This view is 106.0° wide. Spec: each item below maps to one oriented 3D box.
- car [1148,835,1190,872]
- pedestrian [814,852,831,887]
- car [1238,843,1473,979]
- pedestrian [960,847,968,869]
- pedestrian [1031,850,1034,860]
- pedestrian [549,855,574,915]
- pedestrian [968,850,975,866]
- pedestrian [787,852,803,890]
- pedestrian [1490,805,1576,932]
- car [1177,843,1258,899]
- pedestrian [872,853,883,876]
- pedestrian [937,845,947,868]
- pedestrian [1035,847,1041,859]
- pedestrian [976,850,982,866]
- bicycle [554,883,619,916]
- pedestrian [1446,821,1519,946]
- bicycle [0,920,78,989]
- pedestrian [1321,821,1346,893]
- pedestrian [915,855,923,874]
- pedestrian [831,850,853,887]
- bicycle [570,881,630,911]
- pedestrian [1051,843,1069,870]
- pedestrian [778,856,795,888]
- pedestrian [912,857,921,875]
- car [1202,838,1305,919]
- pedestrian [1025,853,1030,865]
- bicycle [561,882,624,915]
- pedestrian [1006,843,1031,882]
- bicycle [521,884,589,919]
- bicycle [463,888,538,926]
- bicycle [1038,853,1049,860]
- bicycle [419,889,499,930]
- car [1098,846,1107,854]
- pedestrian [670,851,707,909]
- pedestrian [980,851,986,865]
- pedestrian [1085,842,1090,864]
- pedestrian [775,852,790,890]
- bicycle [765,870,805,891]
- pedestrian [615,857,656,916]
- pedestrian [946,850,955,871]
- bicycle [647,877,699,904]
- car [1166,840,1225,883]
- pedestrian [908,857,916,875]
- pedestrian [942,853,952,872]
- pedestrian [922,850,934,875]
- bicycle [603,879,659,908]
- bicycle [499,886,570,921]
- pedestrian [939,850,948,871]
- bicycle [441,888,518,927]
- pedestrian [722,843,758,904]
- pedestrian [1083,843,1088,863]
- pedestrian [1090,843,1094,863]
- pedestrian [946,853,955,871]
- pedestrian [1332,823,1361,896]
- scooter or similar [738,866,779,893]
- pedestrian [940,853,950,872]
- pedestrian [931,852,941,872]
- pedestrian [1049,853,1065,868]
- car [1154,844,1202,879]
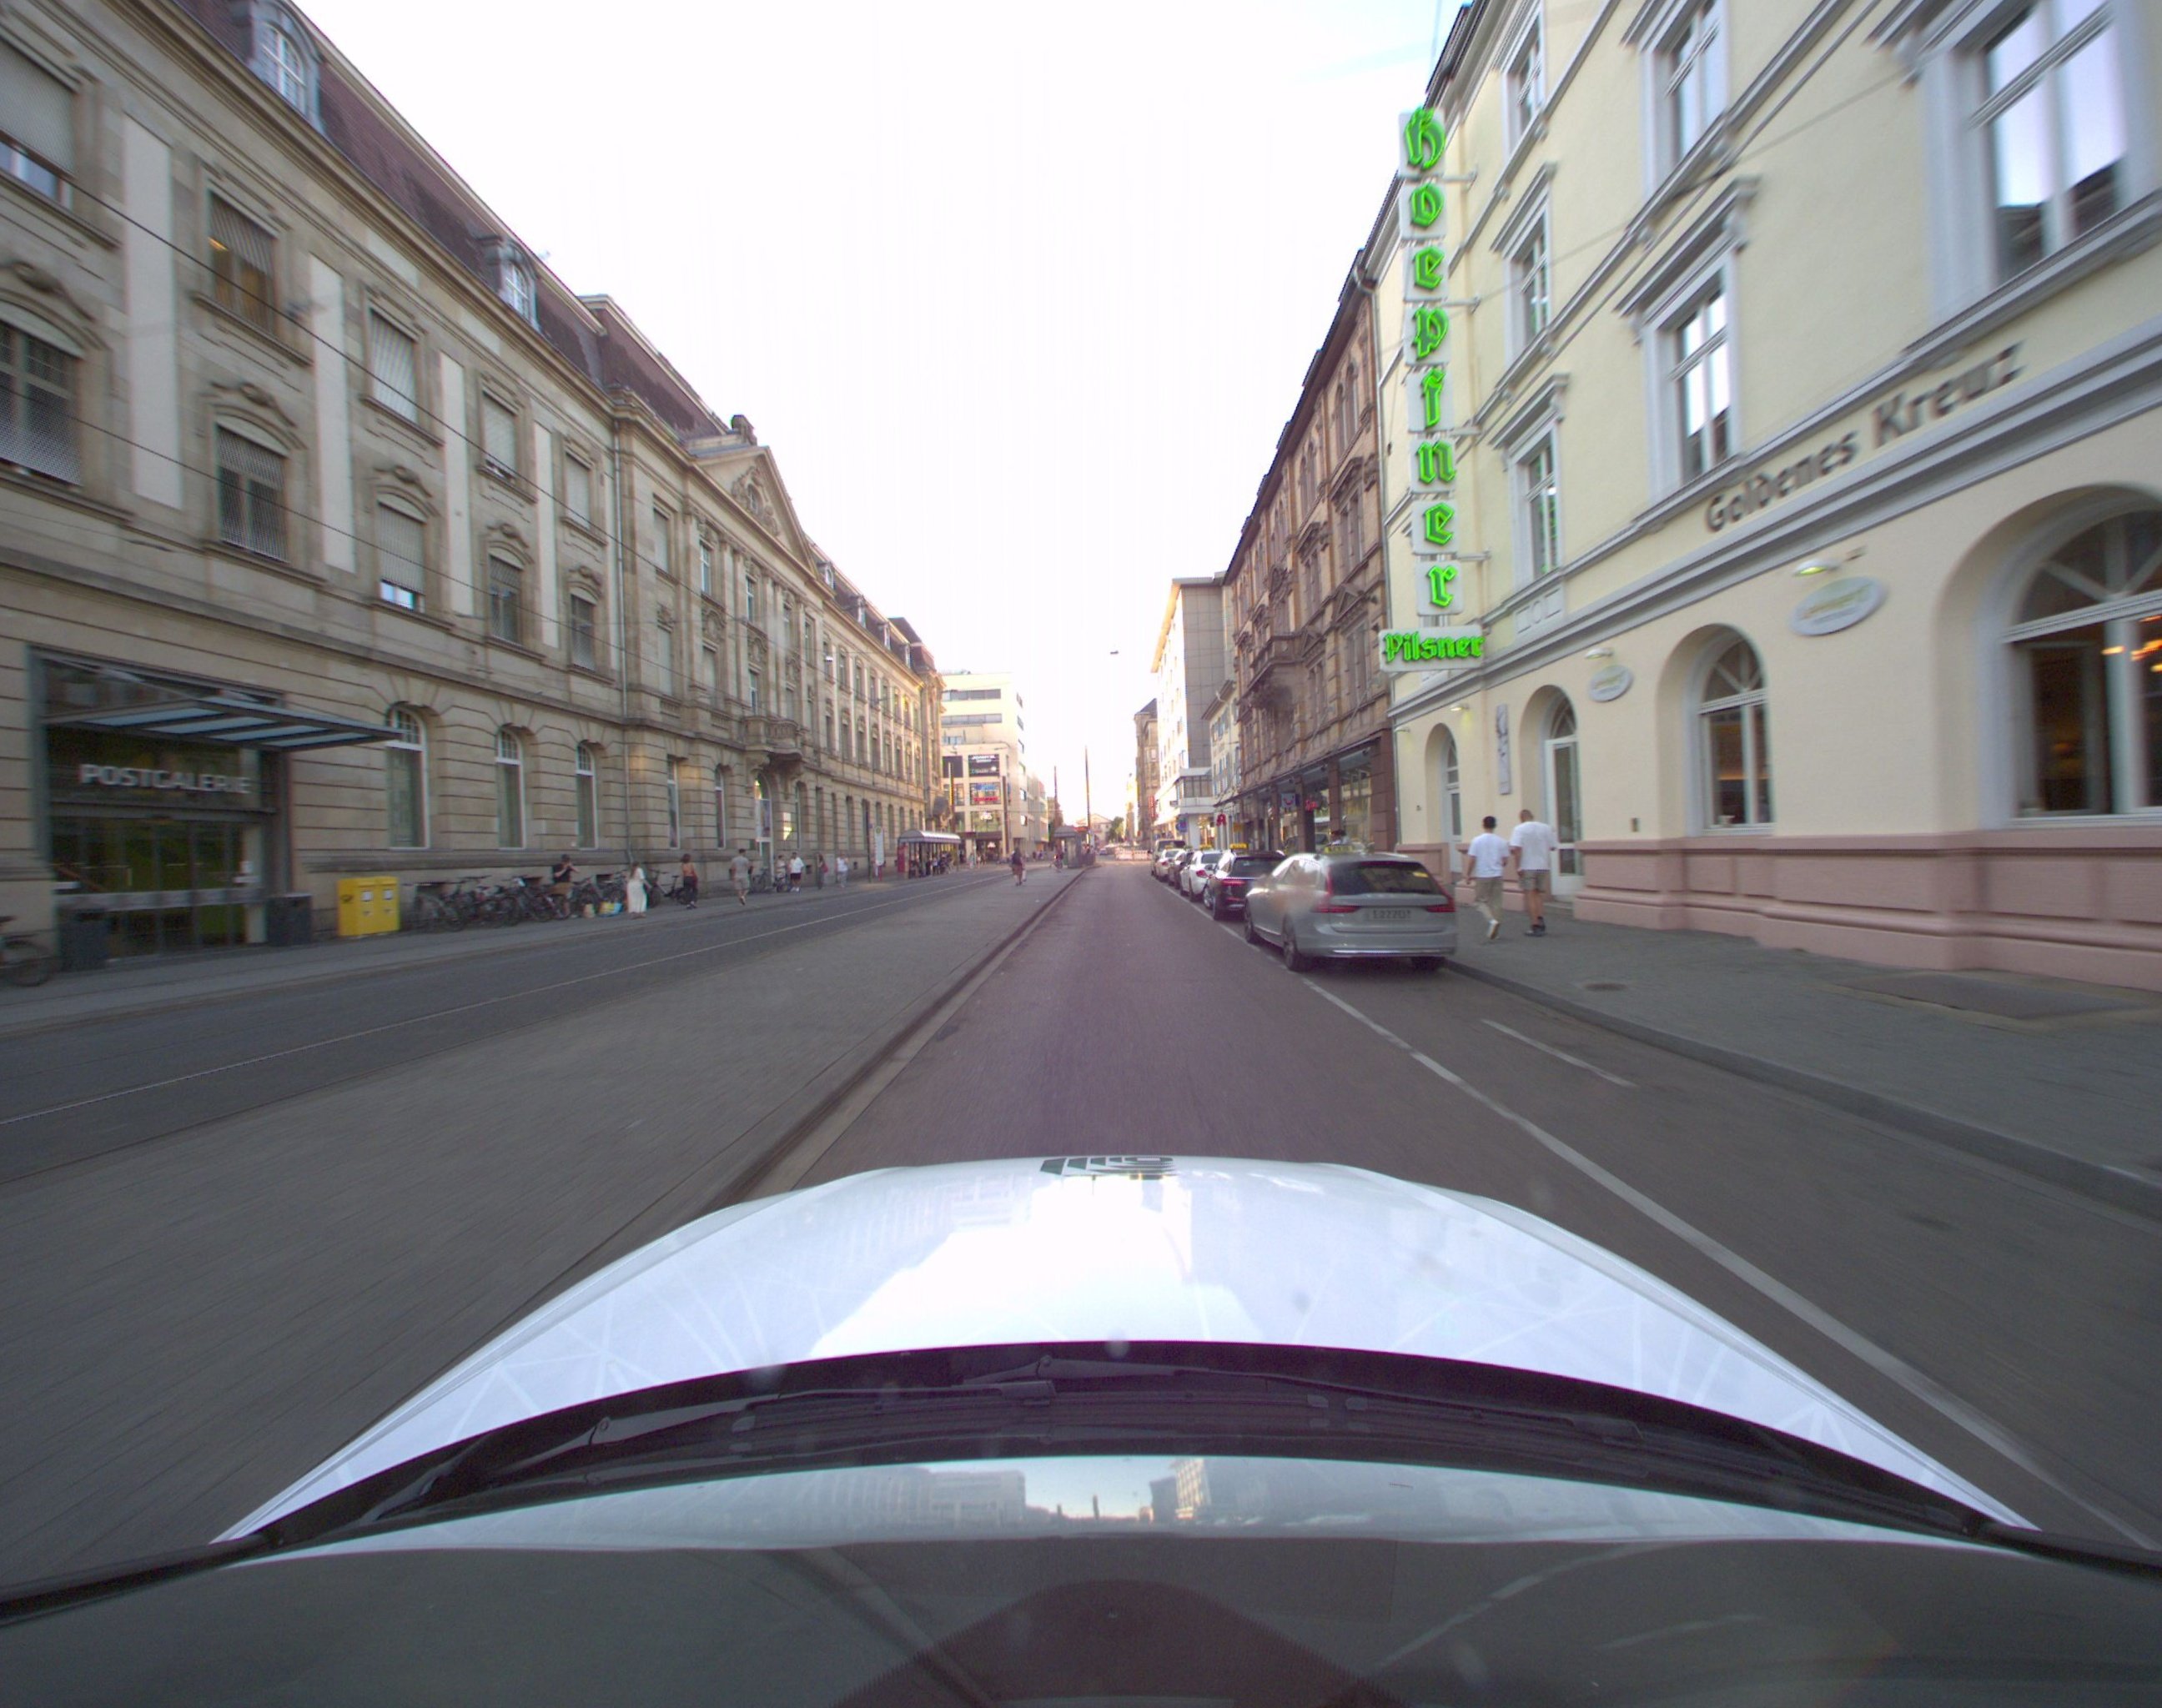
[{"bbox_3d":[4.756,-0.014,44.492,1.870,1.923,4.701,0,0,1],"label":"car"},{"bbox_3d":[-12.006,0.716,37.809,0.565,1.605,0.443,-1,0,28],"label":"pedestrian"},{"bbox_3d":[3.493,0.603,11.368,1.799,1.475,4.695,-1,1,1],"label":"car"},{"bbox_3d":[-9.685,0.324,67.390,0.558,1.776,0.468,-2,0,-3],"label":"pedestrian"},{"bbox_3d":[-7.292,0.169,122.857,0.388,1.515,0.506,-2,0,0],"label":"pedestrian"},{"bbox_3d":[-14.231,0.847,22.297,0.362,1.633,0.430,-1,0,7],"label":"pedestrian"},{"bbox_3d":[-10.588,0.384,78.730,0.521,1.525,0.497,-2,0,-25],"label":"pedestrian"},{"bbox_3d":[-12.630,0.735,35.950,0.474,1.642,0.562,-1,0,1],"label":"pedestrian"},{"bbox_3d":[6.423,0.196,11.600,0.757,1.689,0.551,-7,0,1],"label":"pedestrian"},{"bbox_3d":[3.924,0.456,24.188,1.726,1.511,4.866,0,0,1],"label":"car"},{"bbox_3d":[-13.939,0.703,55.741,0.660,1.561,0.677,-2,0,-13],"label":"pedestrian"},{"bbox_3d":[-10.685,0.207,62.484,0.674,1.691,0.636,-2,-1,-9],"label":"pedestrian"},{"bbox_3d":[-6.522,-0.169,123.468,0.780,1.751,0.600,-1,0,-2],"label":"pedestrian"},{"bbox_3d":[-9.923,0.407,78.984,0.526,1.525,0.500,-2,0,-12],"label":"pedestrian"},{"bbox_3d":[-13.627,1.255,22.448,1.567,0.874,0.451,-1,0,6],"label":"bicycle"},{"bbox_3d":[5.741,0.415,11.668,0.617,1.689,0.485,-7,0,-3],"label":"pedestrian"},{"bbox_3d":[-14.703,1.369,11.138,1.567,0.874,0.451,-1,0,6],"label":"bicycle"},{"bbox_3d":[6.430,0.073,20.731,0.372,1.768,0.455,-4,0,-2],"label":"pedestrian"},{"bbox_3d":[-10.247,0.687,51.505,0.362,1.200,0.430,-1,0,7],"label":"pedestrian"},{"bbox_3d":[-10.251,0.626,34.912,0.657,1.561,0.680,-2,0,1],"label":"pedestrian"},{"bbox_3d":[-14.369,1.252,24.354,1.567,0.874,0.451,-1,0,6],"label":"bicycle"},{"bbox_3d":[-1.302,0.138,50.012,0.679,1.637,0.866,-2,0,42],"label":"pedestrian"},{"bbox_3d":[-13.387,0.820,37.000,0.435,1.440,0.575,-1,-1,38],"label":"pedestrian"},{"bbox_3d":[-10.229,0.754,50.659,0.362,1.102,0.430,-1,0,7],"label":"pedestrian"},{"bbox_3d":[3.725,0.480,18.296,1.725,1.590,4.447,0,0,5],"label":"car"},{"bbox_3d":[-7.987,0.720,121.432,0.644,1.674,0.532,-2,0,10],"label":"pedestrian"},{"bbox_3d":[-13.904,1.266,23.192,1.567,0.874,0.451,-1,0,6],"label":"bicycle"},{"bbox_3d":[-2.492,0.345,32.614,0.843,1.501,0.901,-2,0,1],"label":"pedestrian"},{"bbox_3d":[-13.996,1.268,21.693,1.567,0.874,0.451,-1,0,6],"label":"bicycle"},{"bbox_3d":[-14.228,1.294,19.964,1.567,0.874,0.451,-1,0,6],"label":"bicycle"},{"bbox_3d":[-6.123,0.468,132.807,1.688,1.122,0.451,-1,0,3],"label":"bicycle"},{"bbox_3d":[-14.302,1.274,18.733,1.567,0.874,0.451,-1,0,6],"label":"bicycle"},{"bbox_3d":[5.176,-1.035,196.062,1.986,1.904,4.001,-1,0,1],"label":"car"},{"bbox_3d":[-12.100,0.787,25.120,0.690,1.712,0.815,-2,0,1],"label":"pedestrian"},{"bbox_3d":[-11.923,0.475,98.769,0.567,1.593,0.448,-2,0,0],"label":"pedestrian"},{"bbox_3d":[0.546,-0.075,66.525,0.410,1.767,0.594,-1,0,-1],"label":"pedestrian"},{"bbox_3d":[-13.104,0.739,35.720,0.333,1.642,0.607,-1,0,9],"label":"pedestrian"},{"bbox_3d":[-12.762,1.124,35.097,1.567,0.874,0.451,-1,0,6],"label":"bicycle"},{"bbox_3d":[-11.450,0.837,20.950,0.690,1.466,0.556,-2,0,1],"label":"pedestrian"},{"bbox_3d":[-10.337,0.505,64.300,0.515,1.569,0.639,-2,-1,5],"label":"pedestrian"},{"bbox_3d":[-13.954,1.248,27.844,1.567,0.874,0.451,-1,0,6],"label":"bicycle"},{"bbox_3d":[4.328,0.271,31.477,1.720,1.477,4.822,-1,0,1],"label":"car"},{"bbox_3d":[-10.404,0.756,50.076,0.362,1.102,0.430,-1,0,7],"label":"pedestrian"},{"bbox_3d":[-9.909,0.632,60.357,0.515,1.327,0.639,-2,-1,5],"label":"pedestrian"},{"bbox_3d":[-10.238,0.564,54.530,0.513,1.650,0.641,-2,-1,24],"label":"pedestrian"},{"bbox_3d":[-14.357,1.261,25.979,1.567,0.874,0.451,-1,0,6],"label":"bicycle"},{"bbox_3d":[-14.124,1.281,21.059,1.567,0.874,0.451,-1,0,6],"label":"bicycle"},{"bbox_3d":[-10.708,0.494,63.541,0.515,1.646,0.639,-2,-1,5],"label":"pedestrian"},{"bbox_3d":[-14.311,1.276,19.380,1.567,0.874,0.451,-1,0,6],"label":"bicycle"},{"bbox_3d":[-10.366,0.584,24.765,0.690,1.813,0.815,-2,0,1],"label":"pedestrian"},{"bbox_3d":[0.416,-0.079,69.540,0.384,1.642,0.549,-1,0,-1],"label":"pedestrian"},{"bbox_3d":[0.963,-0.084,72.352,0.340,1.795,0.544,-1,0,-1],"label":"pedestrian"},{"bbox_3d":[-9.808,0.632,61.227,0.515,1.327,0.639,-2,-1,5],"label":"pedestrian"},{"bbox_3d":[6.579,0.134,20.184,0.372,1.768,0.663,-4,0,-2],"label":"pedestrian"},{"bbox_3d":[-13.242,1.041,33.461,1.539,1.068,0.451,-1,0,6],"label":"scooter or similar"},{"bbox_3d":[-9.932,0.631,59.590,0.515,1.327,0.639,-2,-1,5],"label":"pedestrian"},{"bbox_3d":[-10.157,0.567,56.982,0.515,1.327,0.639,-2,-1,5],"label":"pedestrian"},{"bbox_3d":[-1.629,0.433,55.063,0.791,0.939,0.697,-2,0,24],"label":"pedestrian"},{"bbox_3d":[4.437,0.302,38.025,1.799,1.483,4.780,0,1,1],"label":"car"}]
